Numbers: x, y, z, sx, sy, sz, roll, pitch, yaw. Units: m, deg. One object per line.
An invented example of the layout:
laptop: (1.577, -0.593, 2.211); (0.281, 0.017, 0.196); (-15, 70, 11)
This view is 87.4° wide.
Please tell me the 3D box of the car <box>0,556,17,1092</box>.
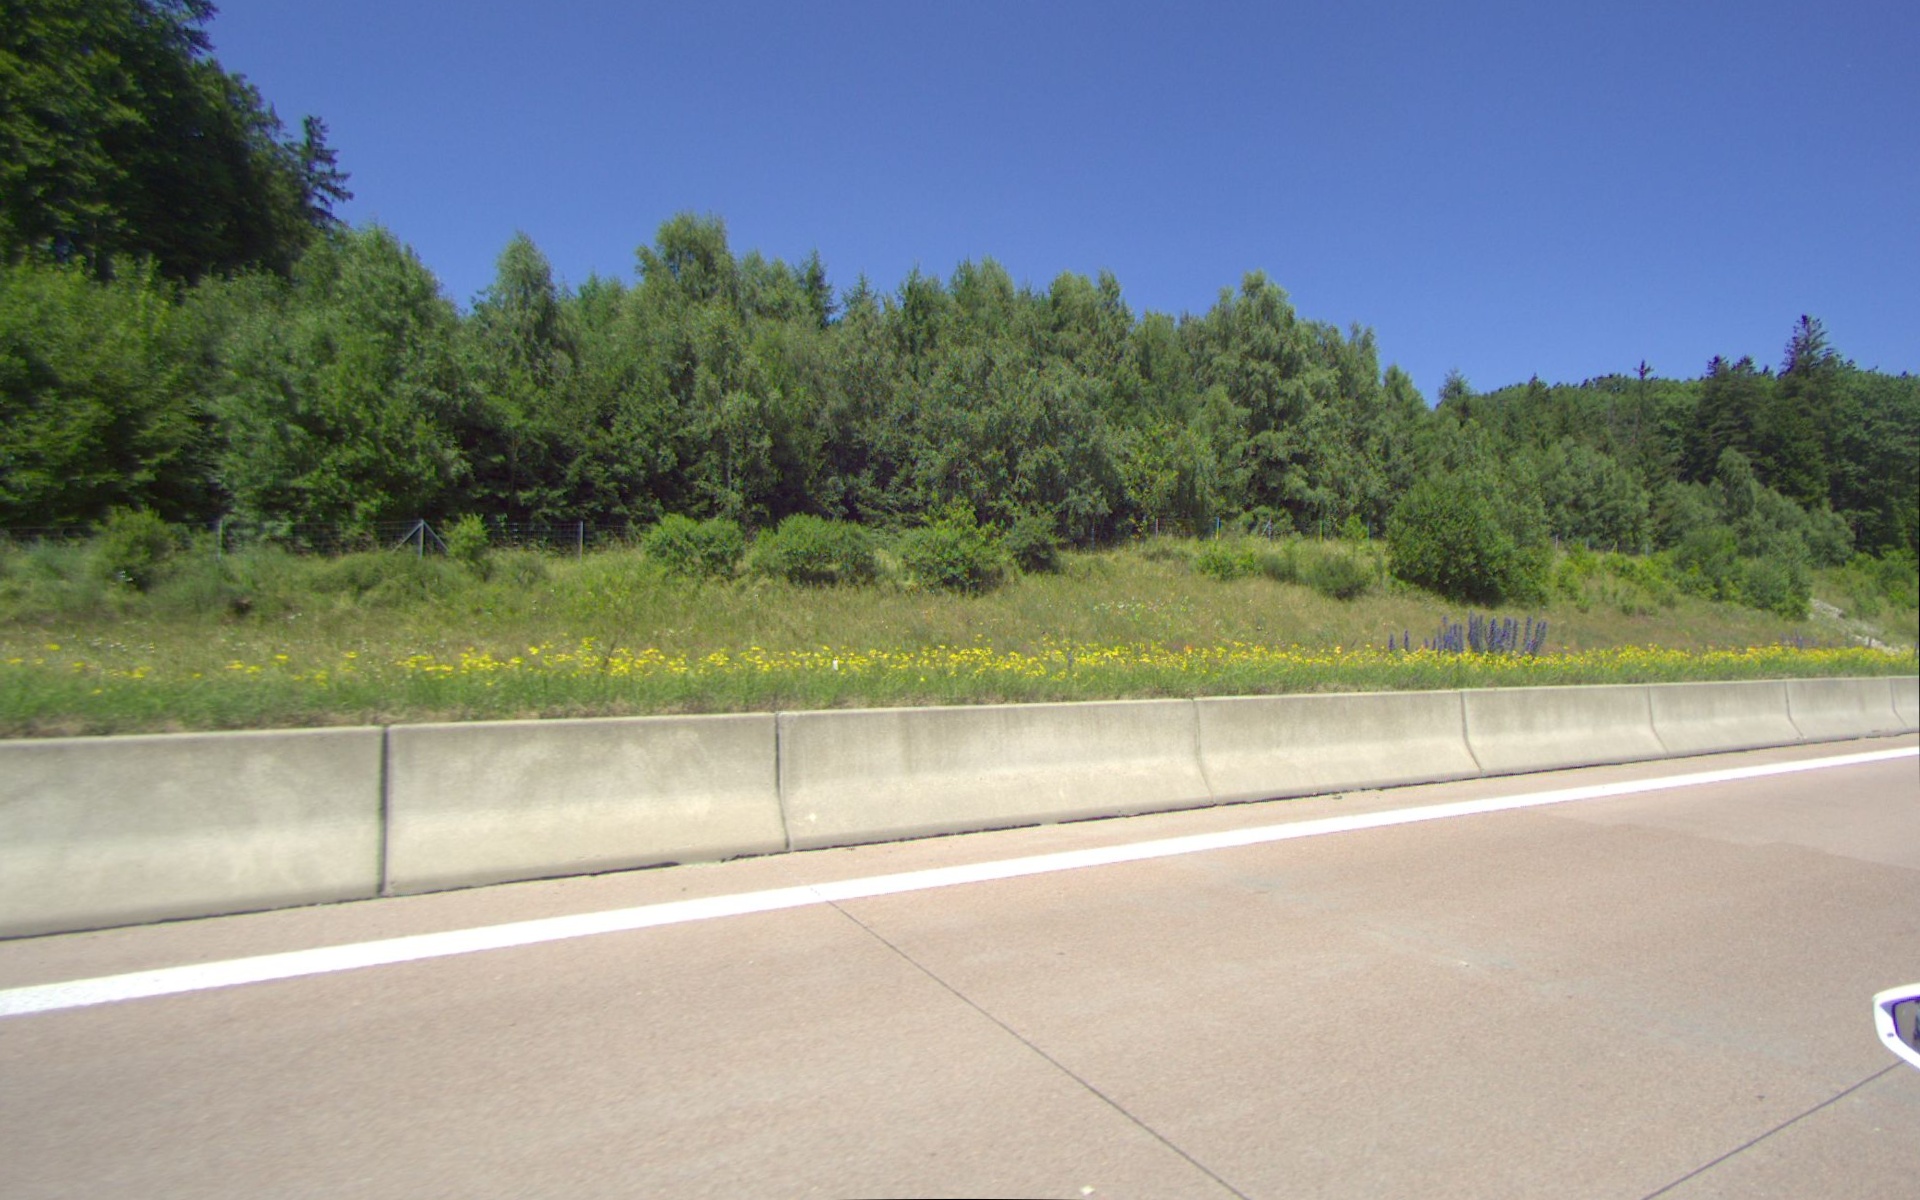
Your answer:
car: (-4.453, 0.617, 0.986); (4.778, 1.628, 1.870); (2, -1, -31)
